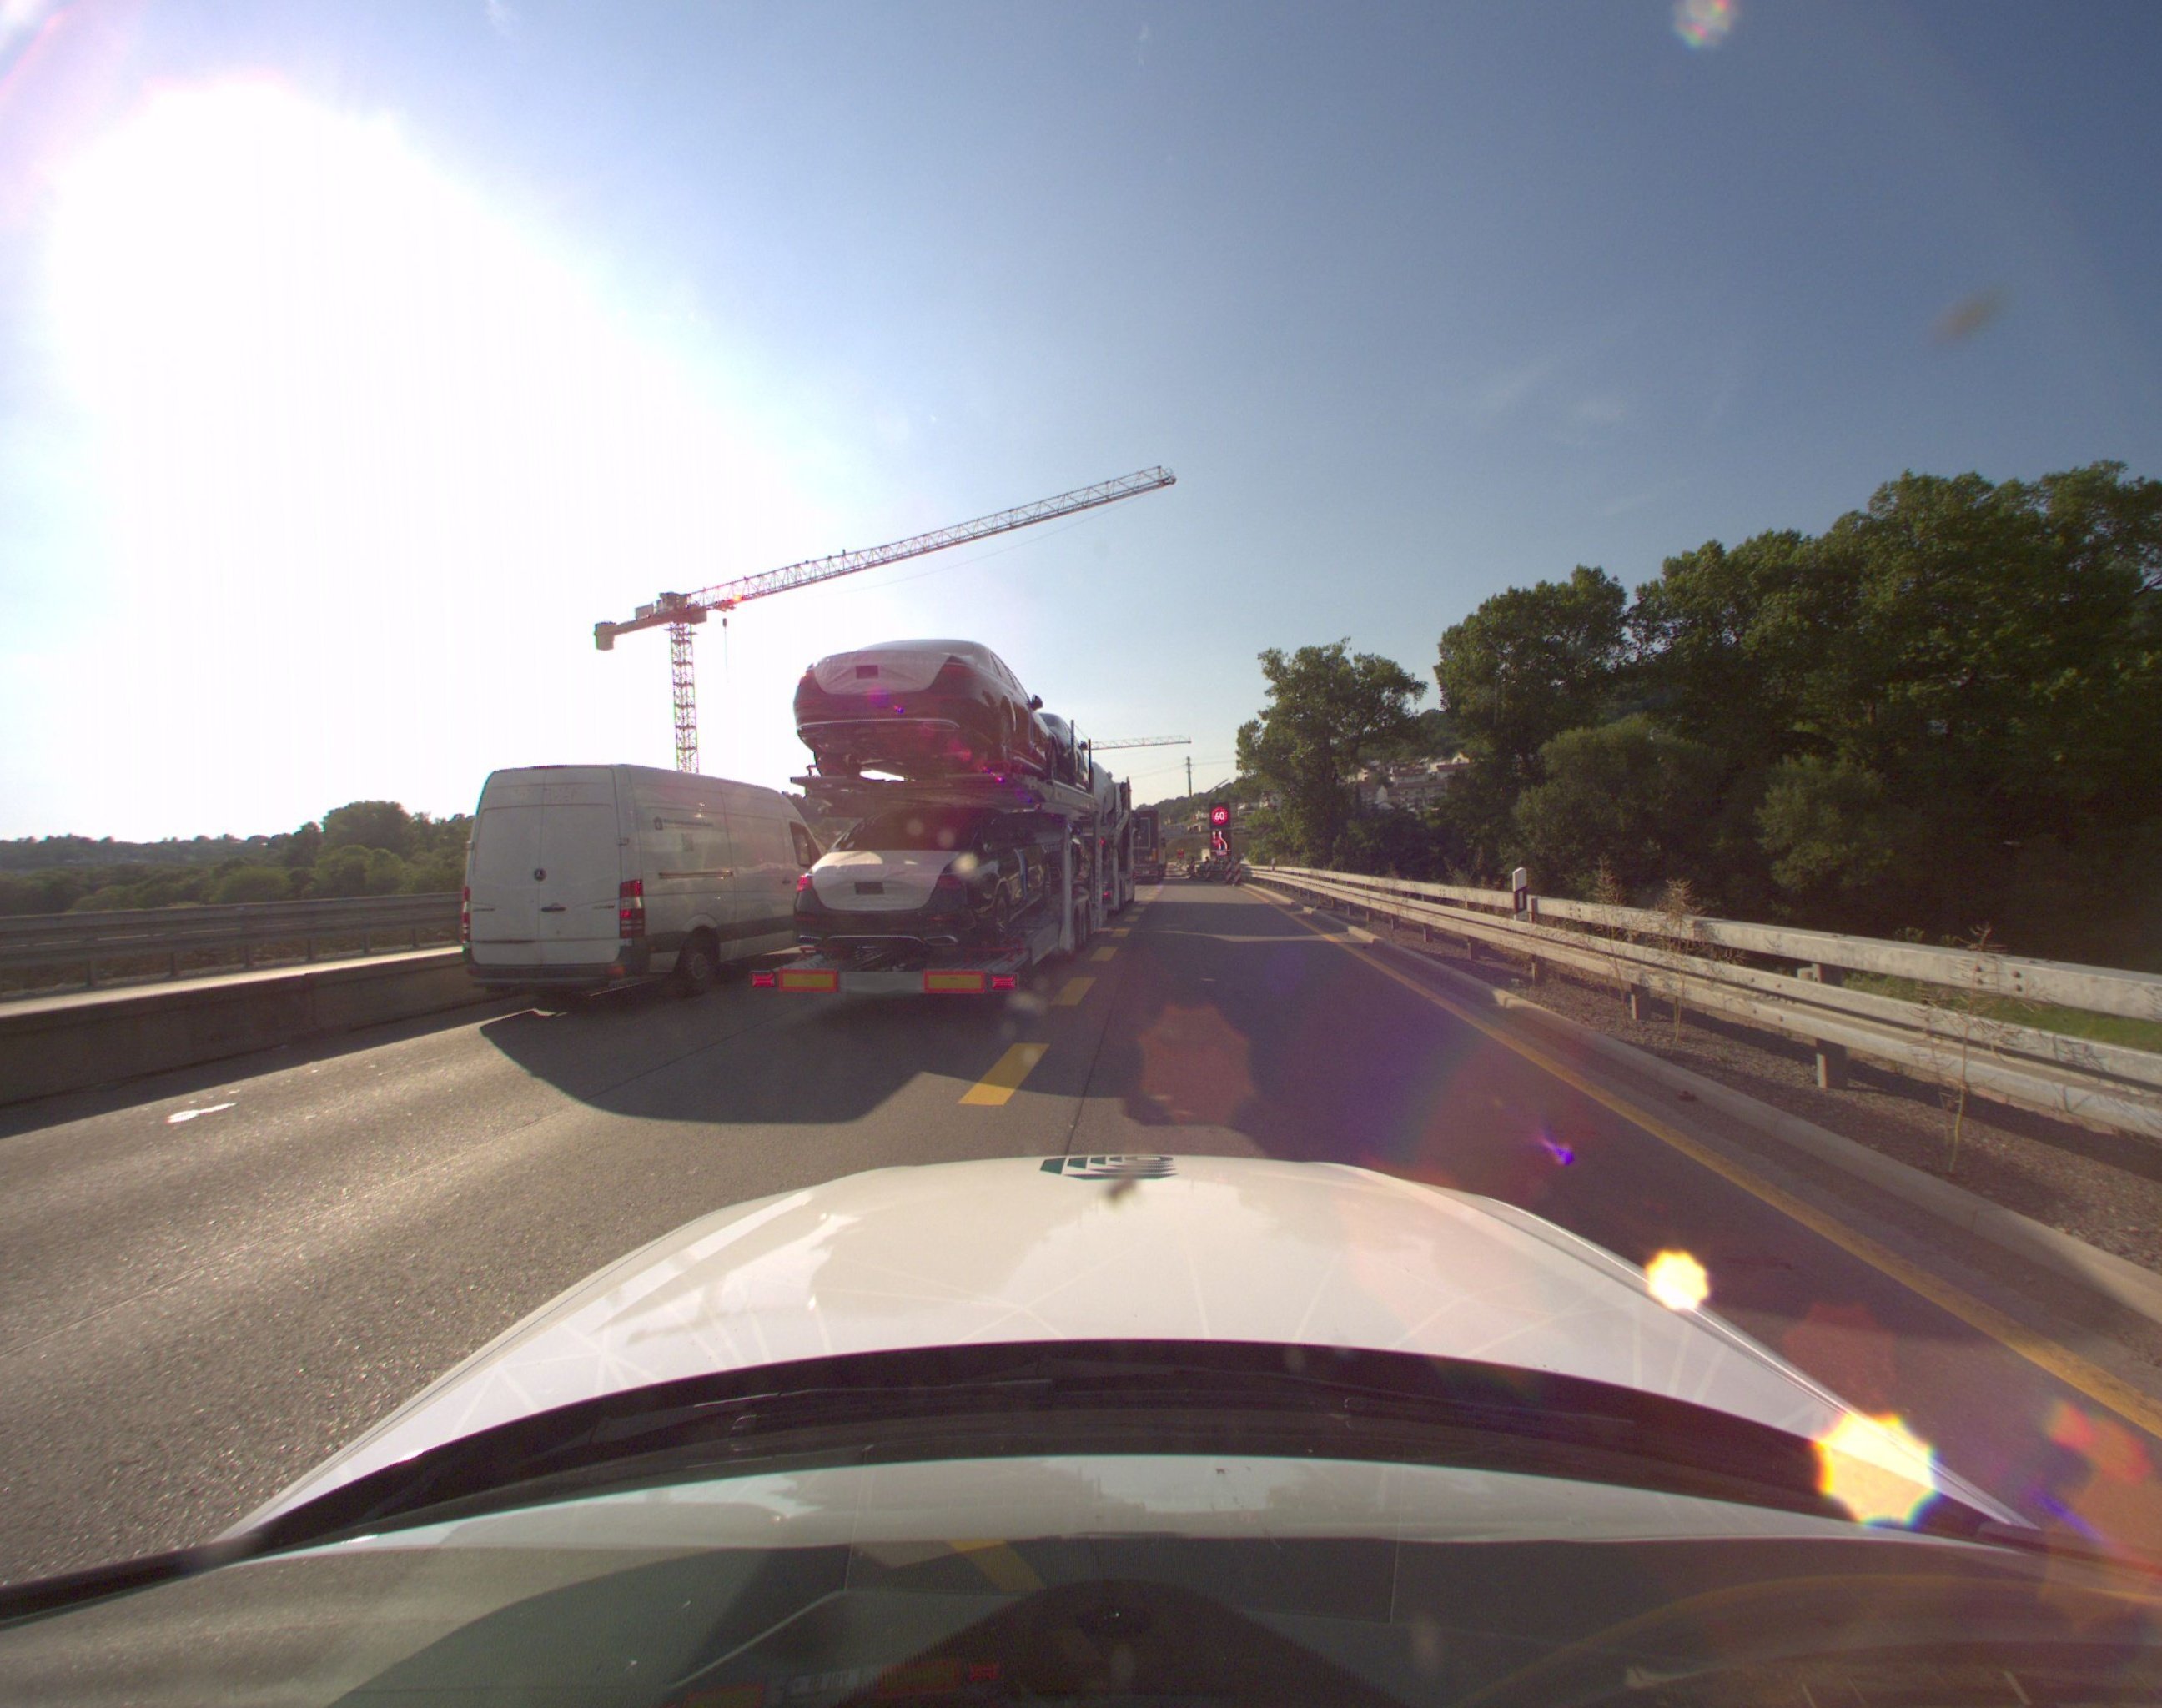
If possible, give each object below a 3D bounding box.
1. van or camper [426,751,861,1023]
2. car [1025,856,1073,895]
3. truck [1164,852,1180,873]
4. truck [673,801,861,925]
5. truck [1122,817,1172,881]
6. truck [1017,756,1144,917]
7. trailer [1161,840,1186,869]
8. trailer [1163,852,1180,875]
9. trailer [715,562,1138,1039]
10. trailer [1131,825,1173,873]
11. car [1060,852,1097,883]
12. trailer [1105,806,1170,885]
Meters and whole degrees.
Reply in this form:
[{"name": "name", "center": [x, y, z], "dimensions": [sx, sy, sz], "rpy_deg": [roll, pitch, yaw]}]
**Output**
[{"name": "van or camper", "center": [-5.142, 0.342, 10.959], "dimensions": [1.983, 2.620, 5.916], "rpy_deg": [-2, 0, 7]}, {"name": "car", "center": [-1.562, 1.016, 41.040], "dimensions": [1.822, 1.752, 4.005], "rpy_deg": [-4, -1, 5]}, {"name": "truck", "center": [19.572, 1.810, 175.214], "dimensions": [3.082, 4.285, 6.637], "rpy_deg": [-3, 0, 7]}, {"name": "truck", "center": [-9.702, 0.262, 25.982], "dimensions": [2.880, 3.396, 5.965], "rpy_deg": [-3, 0, 8]}, {"name": "truck", "center": [4.612, -0.331, 56.040], "dimensions": [2.869, 3.996, 6.639], "rpy_deg": [-3, 0, 8]}, {"name": "truck", "center": [0.226, -0.431, 24.171], "dimensions": [2.833, 3.996, 6.637], "rpy_deg": [-3, 0, 7]}, {"name": "trailer", "center": [13.937, 0.040, 122.623], "dimensions": [3.367, 3.996, 14.772], "rpy_deg": [-3, 0, 7]}, {"name": "trailer", "center": [18.609, 1.814, 166.511], "dimensions": [3.087, 4.314, 14.278], "rpy_deg": [-3, 0, 7]}, {"name": "trailer", "center": [-0.830, -0.427, 14.894], "dimensions": [2.842, 3.996, 15.775], "rpy_deg": [-3, 0, 7]}, {"name": "trailer", "center": [6.900, -0.423, 77.312], "dimensions": [3.367, 3.996, 14.772], "rpy_deg": [-3, 0, 7]}, {"name": "car", "center": [-0.112, 0.801, 50.015], "dimensions": [1.822, 1.654, 4.005], "rpy_deg": [-4, -1, 5]}, {"name": "trailer", "center": [3.625, -0.447, 49.243], "dimensions": [2.942, 4.091, 10.817], "rpy_deg": [-3, -1, 8]}]
